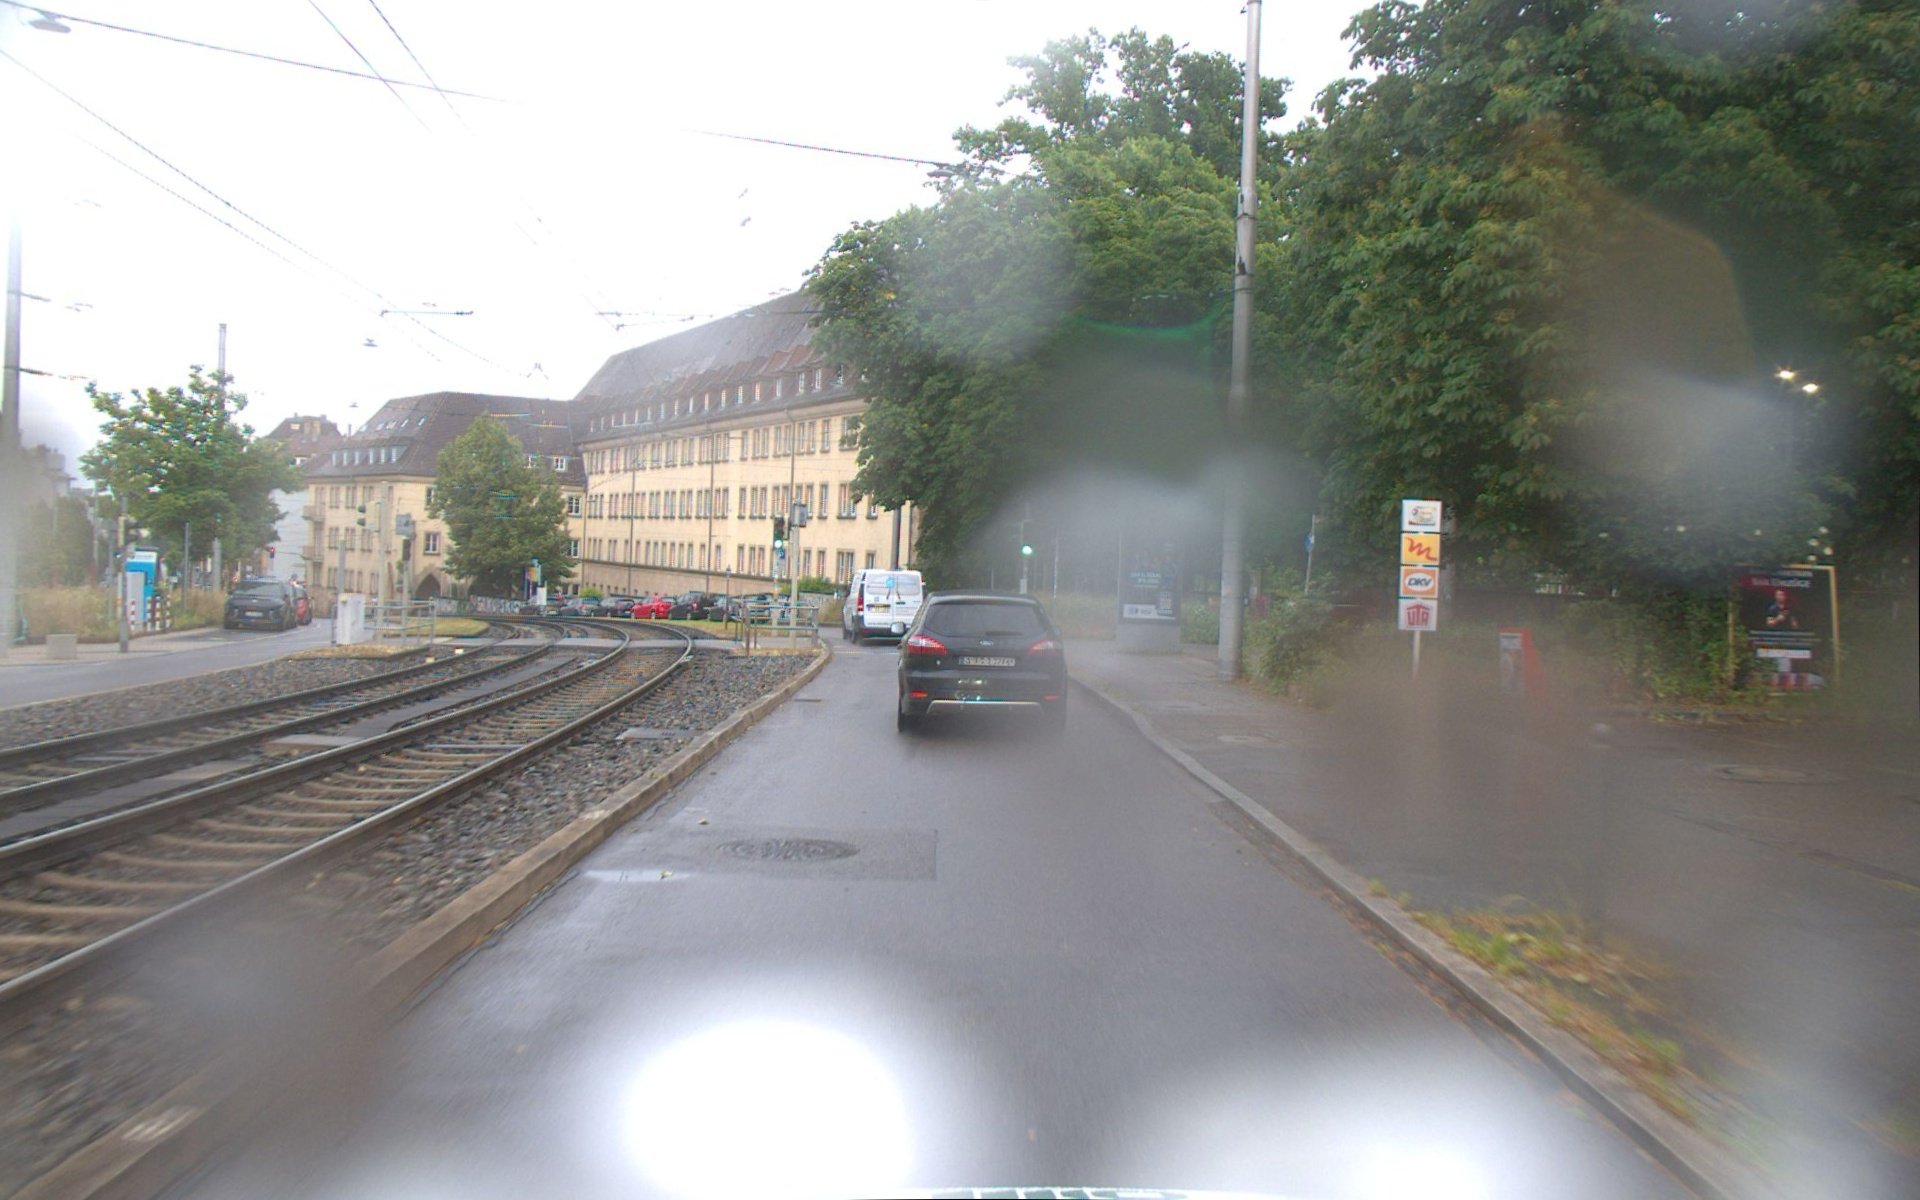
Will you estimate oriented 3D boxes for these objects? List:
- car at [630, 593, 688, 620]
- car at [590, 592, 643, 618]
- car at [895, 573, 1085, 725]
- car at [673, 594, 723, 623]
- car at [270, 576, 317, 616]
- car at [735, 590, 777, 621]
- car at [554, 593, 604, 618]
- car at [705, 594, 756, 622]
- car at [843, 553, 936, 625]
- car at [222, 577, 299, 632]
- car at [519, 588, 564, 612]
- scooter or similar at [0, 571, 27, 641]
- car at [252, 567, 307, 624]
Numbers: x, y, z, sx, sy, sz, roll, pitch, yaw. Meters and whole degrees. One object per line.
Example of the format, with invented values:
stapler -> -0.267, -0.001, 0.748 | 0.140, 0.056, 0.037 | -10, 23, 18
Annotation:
car -> -17.553, 0.384, 96.261 | 1.653, 1.502, 4.011 | 2, -1, -37
car -> -20.920, 0.313, 100.717 | 1.651, 1.502, 4.405 | -1, 0, -33
car -> 0.220, 0.481, 18.428 | 1.881, 1.505, 3.998 | 0, 0, -2
car -> -14.589, 0.470, 91.922 | 1.646, 1.600, 3.822 | -1, 0, -27
car -> -27.550, -0.147, 68.418 | 1.445, 1.558, 2.918 | 3, -1, -16
car -> -10.281, 0.280, 83.214 | 1.574, 1.491, 2.705 | -1, 0, -20
car -> -24.292, 0.349, 105.411 | 1.653, 1.502, 4.056 | -1, 0, -36
car -> -12.066, 0.410, 86.880 | 1.519, 1.441, 3.609 | -1, 0, -28
car -> -1.871, -0.277, 42.695 | 2.096, 1.776, 4.212 | 0, 0, -7
car -> -22.784, 0.159, 54.025 | 1.964, 1.633, 4.191 | 4, -2, -19
car -> -27.871, -0.008, 110.146 | 1.651, 1.551, 4.061 | -1, 0, -33
scooter or similar -> -22.663, 0.130, 38.912 | 0.589, 1.624, 2.353 | 1, 0, -13
car -> -24.356, -0.151, 59.262 | 1.558, 1.892, 4.307 | 3, -1, -20
